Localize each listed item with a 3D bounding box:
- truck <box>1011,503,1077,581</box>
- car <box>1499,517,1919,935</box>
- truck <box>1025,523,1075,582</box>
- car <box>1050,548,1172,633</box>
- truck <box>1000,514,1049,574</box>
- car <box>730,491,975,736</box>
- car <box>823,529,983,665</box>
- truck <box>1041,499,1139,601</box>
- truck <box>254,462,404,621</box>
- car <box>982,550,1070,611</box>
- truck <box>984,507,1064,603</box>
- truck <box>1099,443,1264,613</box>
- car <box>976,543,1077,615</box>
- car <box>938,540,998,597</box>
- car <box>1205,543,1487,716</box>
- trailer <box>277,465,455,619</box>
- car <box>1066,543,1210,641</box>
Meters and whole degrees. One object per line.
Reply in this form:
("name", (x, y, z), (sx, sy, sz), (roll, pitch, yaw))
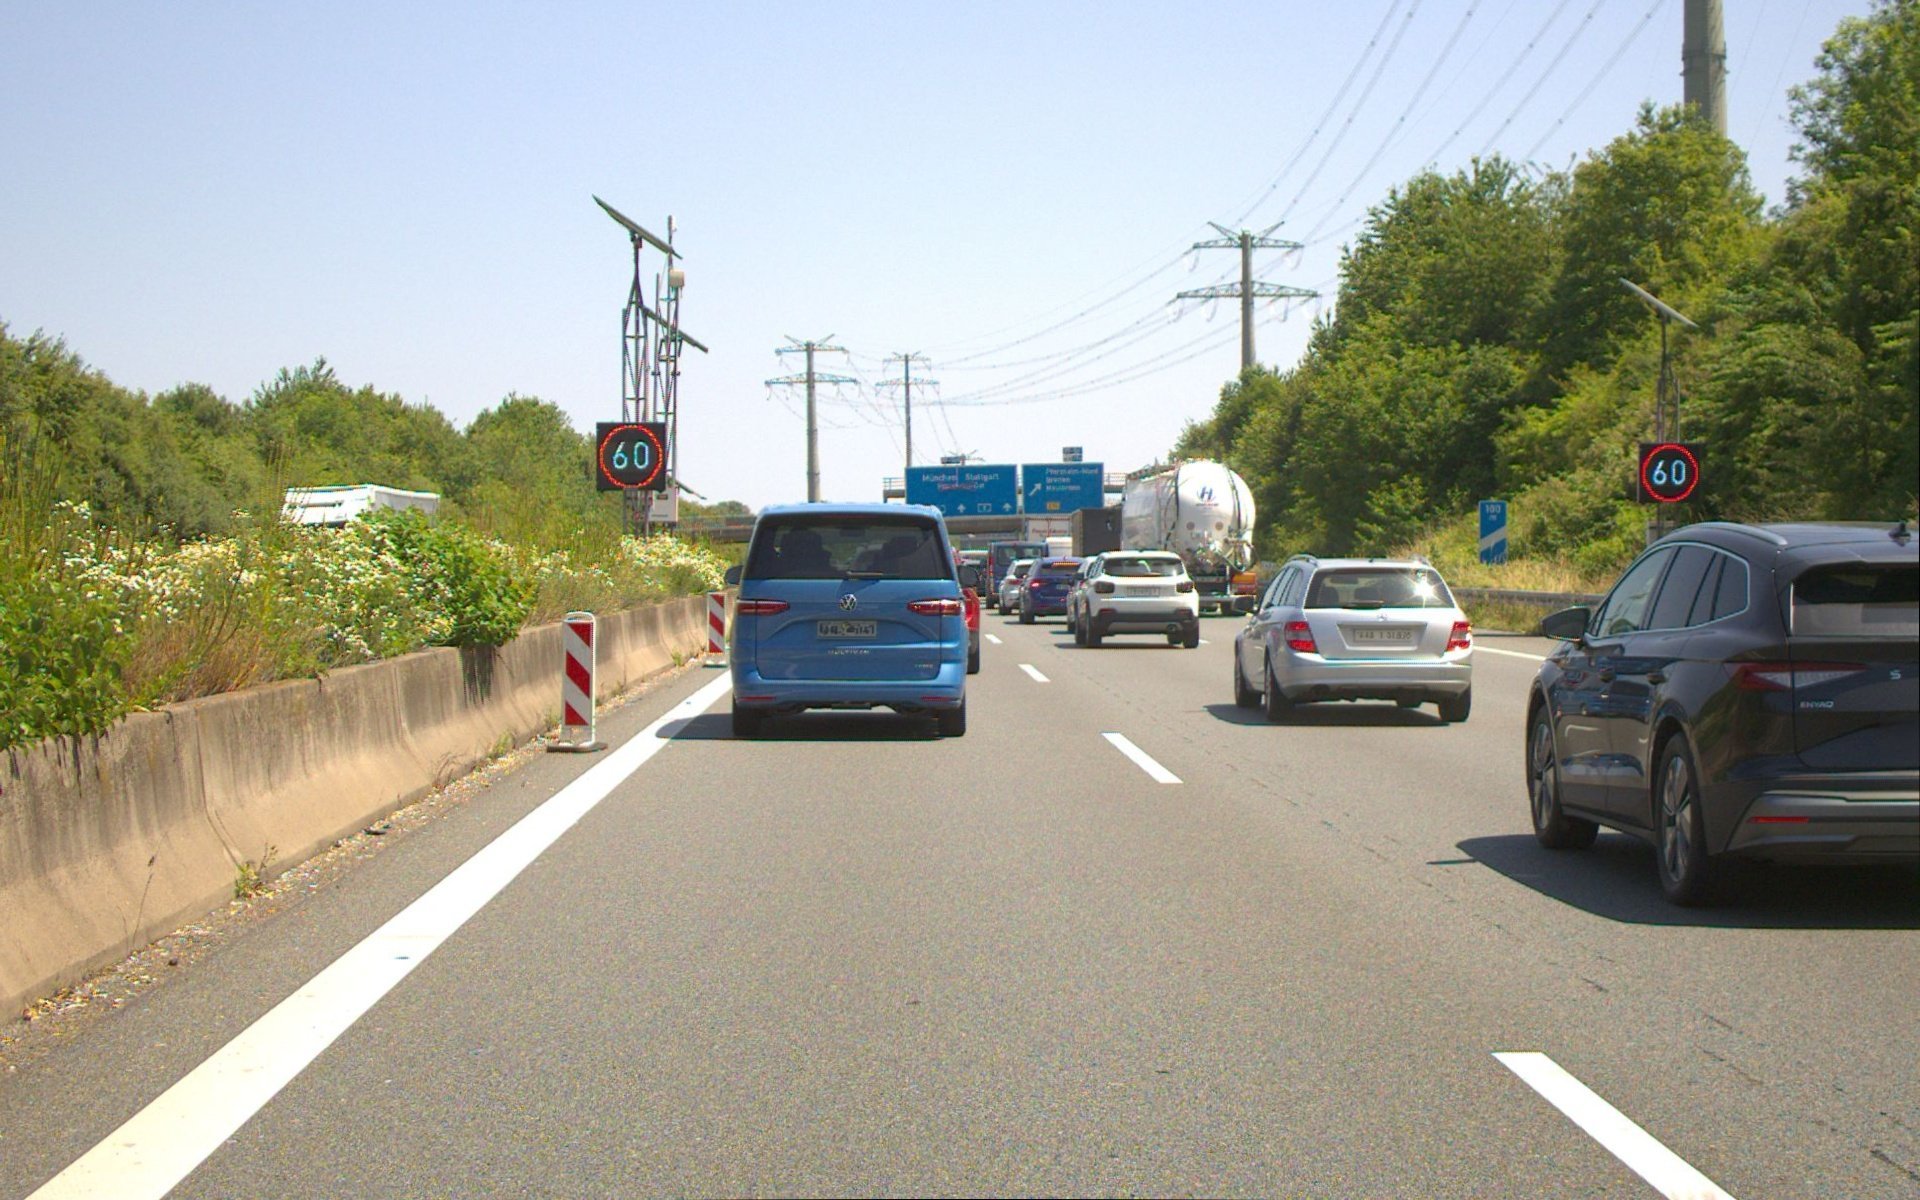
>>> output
("truck", (4.724, -3.269, 195.809), (2.937, 4.276, 12.553), (1, 1, -2))
("car", (3.768, 0.448, 15.490), (1.828, 1.609, 4.431), (0, 1, -2))
("truck", (4.260, -2.254, 163.394), (1.993, 2.714, 5.681), (1, 1, -2))
("car", (2.882, -0.212, 66.479), (1.908, 1.564, 4.384), (1, 1, -3))
("truck", (4.794, -4.184, 257.704), (2.937, 4.276, 12.553), (1, 1, -2))
("car", (-0.958, 0.074, 28.889), (1.871, 1.873, 4.384), (1, 1, -3))
("car", (-0.767, -0.067, 43.423), (1.908, 1.625, 4.384), (0, 1, -2))
("truck", (4.709, -1.852, 126.992), (2.644, 3.526, 12.553), (1, 1, -2))
("truck", (-17.615, -1.639, 96.298), (3.016, 4.152, 5.806), (-3, 1, -1))
("car", (1.670, -0.525, 88.369), (1.908, 1.511, 4.384), (1, 1, -3))
("truck", (1.844, -1.316, 101.273), (1.993, 2.714, 5.681), (1, 1, -2))
("truck", (5.690, -1.852, 91.229), (2.644, 4.058, 16.442), (1, 1, -2))
("car", (1.436, -0.476, 75.757), (1.908, 1.511, 4.384), (1, 1, -3))
("car", (0.274, -1.152, 125.751), (1.993, 2.007, 4.000), (1, 1, -2))
("car", (3.412, 0.222, 31.141), (1.821, 1.432, 4.384), (1, 1, -3))
("trailer", (-17.788, -1.747, 103.987), (3.016, 4.152, 14.021), (-3, 1, -1))
("car", (2.838, -0.156, 55.533), (1.908, 1.503, 3.922), (1, 1, -3))
